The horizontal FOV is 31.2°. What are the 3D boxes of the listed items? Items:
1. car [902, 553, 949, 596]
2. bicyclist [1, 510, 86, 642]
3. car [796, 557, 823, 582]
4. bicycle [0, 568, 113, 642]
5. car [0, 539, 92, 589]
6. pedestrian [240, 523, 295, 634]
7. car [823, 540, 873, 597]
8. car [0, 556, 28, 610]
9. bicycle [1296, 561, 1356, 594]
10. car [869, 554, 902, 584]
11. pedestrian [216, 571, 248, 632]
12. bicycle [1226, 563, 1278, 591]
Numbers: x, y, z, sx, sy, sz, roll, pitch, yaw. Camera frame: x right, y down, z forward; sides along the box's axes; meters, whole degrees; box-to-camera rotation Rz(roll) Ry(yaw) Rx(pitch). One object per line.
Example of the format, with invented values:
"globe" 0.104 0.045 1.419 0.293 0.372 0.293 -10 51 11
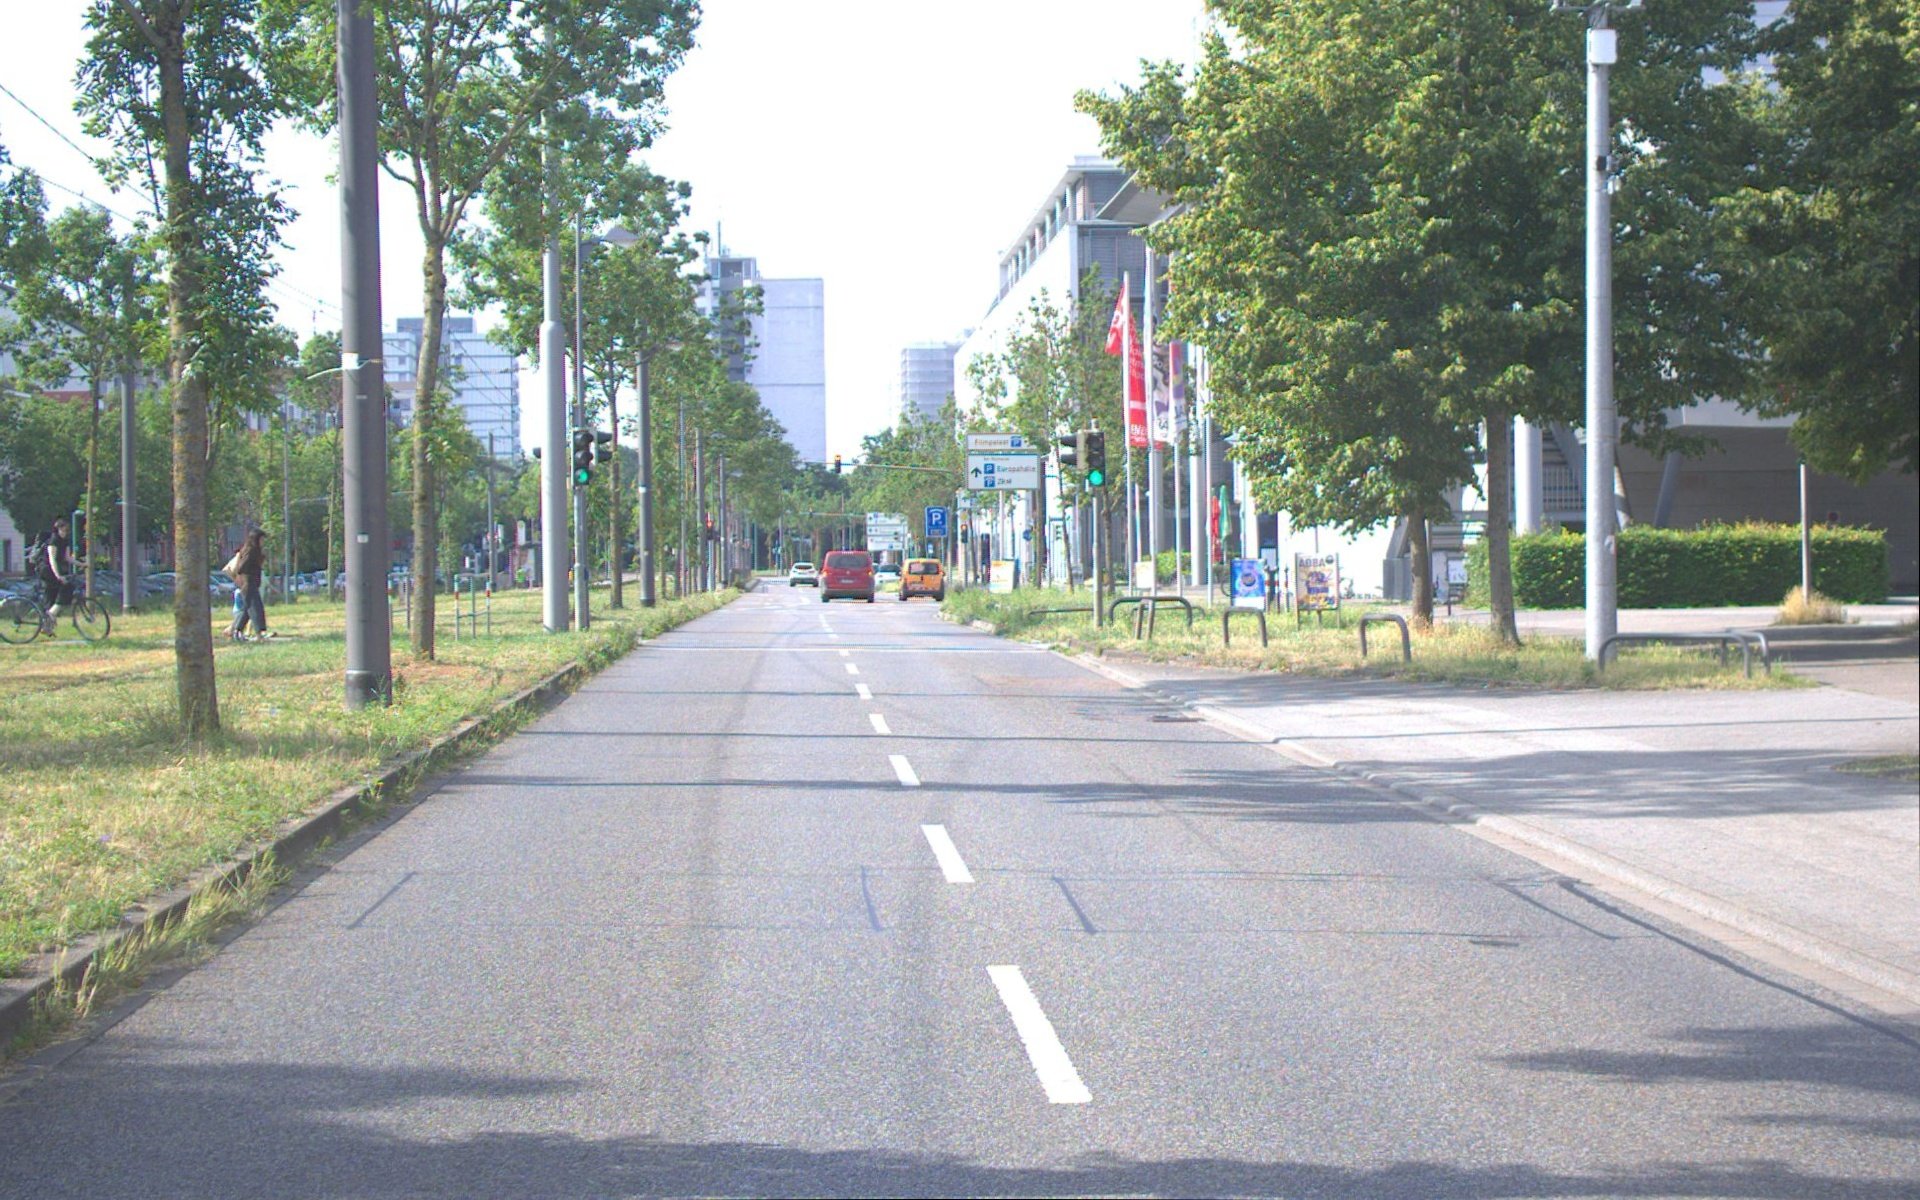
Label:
"car" -1.392 -1.020 137.685 1.748 1.645 3.216 2 0 -2
"bicyclist" -13.696 -0.363 51.406 1.146 1.927 0.686 2 0 -13
"car" -10.199 -2.061 232.923 1.748 1.645 3.216 2 0 -2
"bicycle" -13.730 0.067 51.361 2.065 1.039 0.668 2 0 -13
"car" -29.836 -1.162 109.760 3.992 1.525 1.462 2 0 23
"pedestrian" -9.908 -0.306 49.198 0.625 1.566 0.711 2 0 -2
"car" -4.083 -1.159 125.645 1.748 2.007 3.216 2 0 -2
"car" -28.896 -0.535 98.817 3.992 1.525 1.462 2 0 23
"bicycle" 10.524 -0.642 98.887 1.621 0.885 0.551 2 0 -4
"car" -4.161 -1.730 191.932 1.748 1.645 3.216 2 0 -2
"pedestrian" -10.453 0.019 49.359 0.341 0.872 0.461 2 0 -2
"bicycle" 9.660 -0.766 113.650 1.621 0.885 0.551 2 0 -4
